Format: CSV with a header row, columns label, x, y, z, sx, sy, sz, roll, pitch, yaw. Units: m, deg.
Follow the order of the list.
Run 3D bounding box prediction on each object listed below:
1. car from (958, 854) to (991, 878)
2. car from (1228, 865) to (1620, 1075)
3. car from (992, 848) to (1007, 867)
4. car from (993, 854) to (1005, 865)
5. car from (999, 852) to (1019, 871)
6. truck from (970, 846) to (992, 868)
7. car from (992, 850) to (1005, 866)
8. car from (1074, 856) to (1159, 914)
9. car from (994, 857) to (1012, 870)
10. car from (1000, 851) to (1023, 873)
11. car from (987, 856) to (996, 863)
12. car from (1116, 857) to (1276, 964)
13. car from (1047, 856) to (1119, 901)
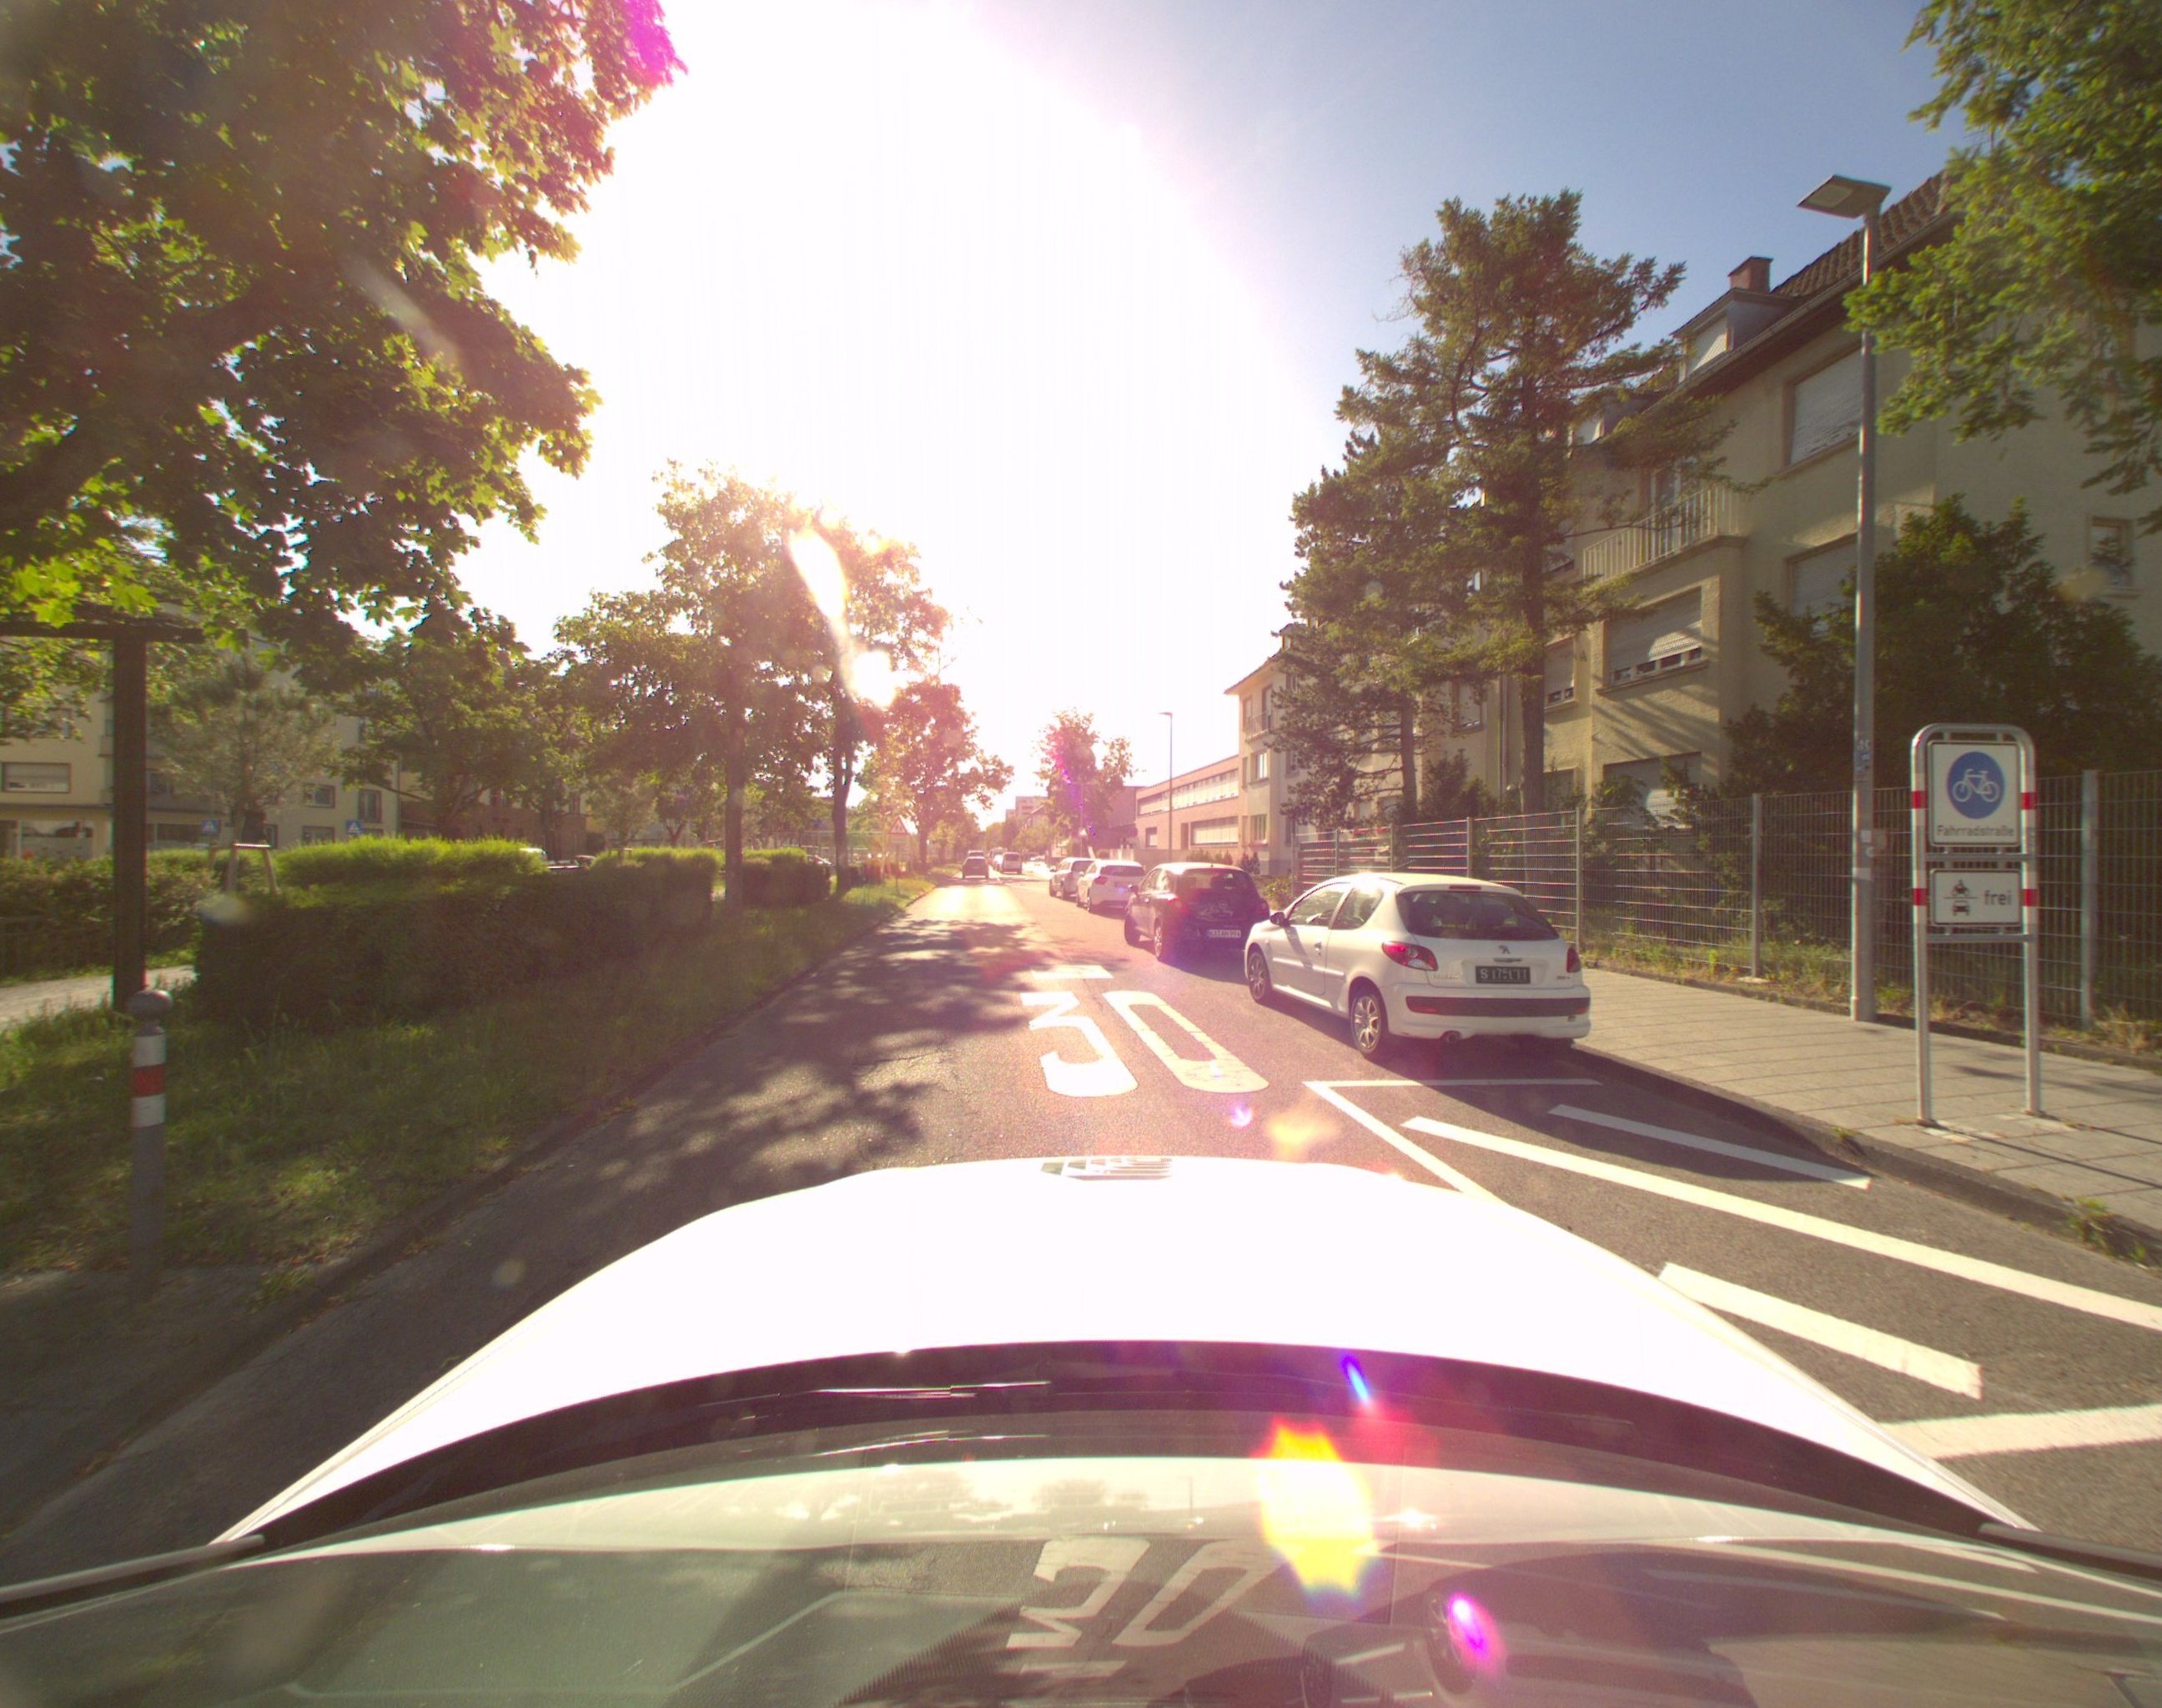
label,x,y,z,sx,sy,sz,roll,pitch,yaw
car,-7.302,0.792,55.553,1.994,1.524,4.739,0,0,-10
car,2.797,0.846,7.627,1.700,1.398,3.766,1,0,-8
car,-10.639,0.460,106.466,1.816,2.518,3.990,0,0,-7
car,-13.684,0.871,135.403,1.816,1.835,3.990,0,0,-7
car,-7.182,0.758,80.655,1.816,1.830,3.990,0,0,-7
truck,-9.651,0.265,78.250,1.992,2.036,4.861,0,0,-8
car,-12.452,0.559,123.333,1.816,2.353,3.990,0,0,-7
car,0.935,0.836,23.653,1.794,1.494,3.990,1,0,-7
car,-8.300,0.986,86.376,1.816,1.399,3.990,0,0,-7
car,-6.010,0.704,70.410,1.816,1.830,3.990,0,0,-7
car,-18.592,1.195,169.243,1.816,1.358,3.990,0,0,-7
car,1.727,0.825,13.497,1.670,1.494,3.816,1,0,-7
car,-0.007,0.841,29.695,1.797,1.494,3.983,1,0,-12
